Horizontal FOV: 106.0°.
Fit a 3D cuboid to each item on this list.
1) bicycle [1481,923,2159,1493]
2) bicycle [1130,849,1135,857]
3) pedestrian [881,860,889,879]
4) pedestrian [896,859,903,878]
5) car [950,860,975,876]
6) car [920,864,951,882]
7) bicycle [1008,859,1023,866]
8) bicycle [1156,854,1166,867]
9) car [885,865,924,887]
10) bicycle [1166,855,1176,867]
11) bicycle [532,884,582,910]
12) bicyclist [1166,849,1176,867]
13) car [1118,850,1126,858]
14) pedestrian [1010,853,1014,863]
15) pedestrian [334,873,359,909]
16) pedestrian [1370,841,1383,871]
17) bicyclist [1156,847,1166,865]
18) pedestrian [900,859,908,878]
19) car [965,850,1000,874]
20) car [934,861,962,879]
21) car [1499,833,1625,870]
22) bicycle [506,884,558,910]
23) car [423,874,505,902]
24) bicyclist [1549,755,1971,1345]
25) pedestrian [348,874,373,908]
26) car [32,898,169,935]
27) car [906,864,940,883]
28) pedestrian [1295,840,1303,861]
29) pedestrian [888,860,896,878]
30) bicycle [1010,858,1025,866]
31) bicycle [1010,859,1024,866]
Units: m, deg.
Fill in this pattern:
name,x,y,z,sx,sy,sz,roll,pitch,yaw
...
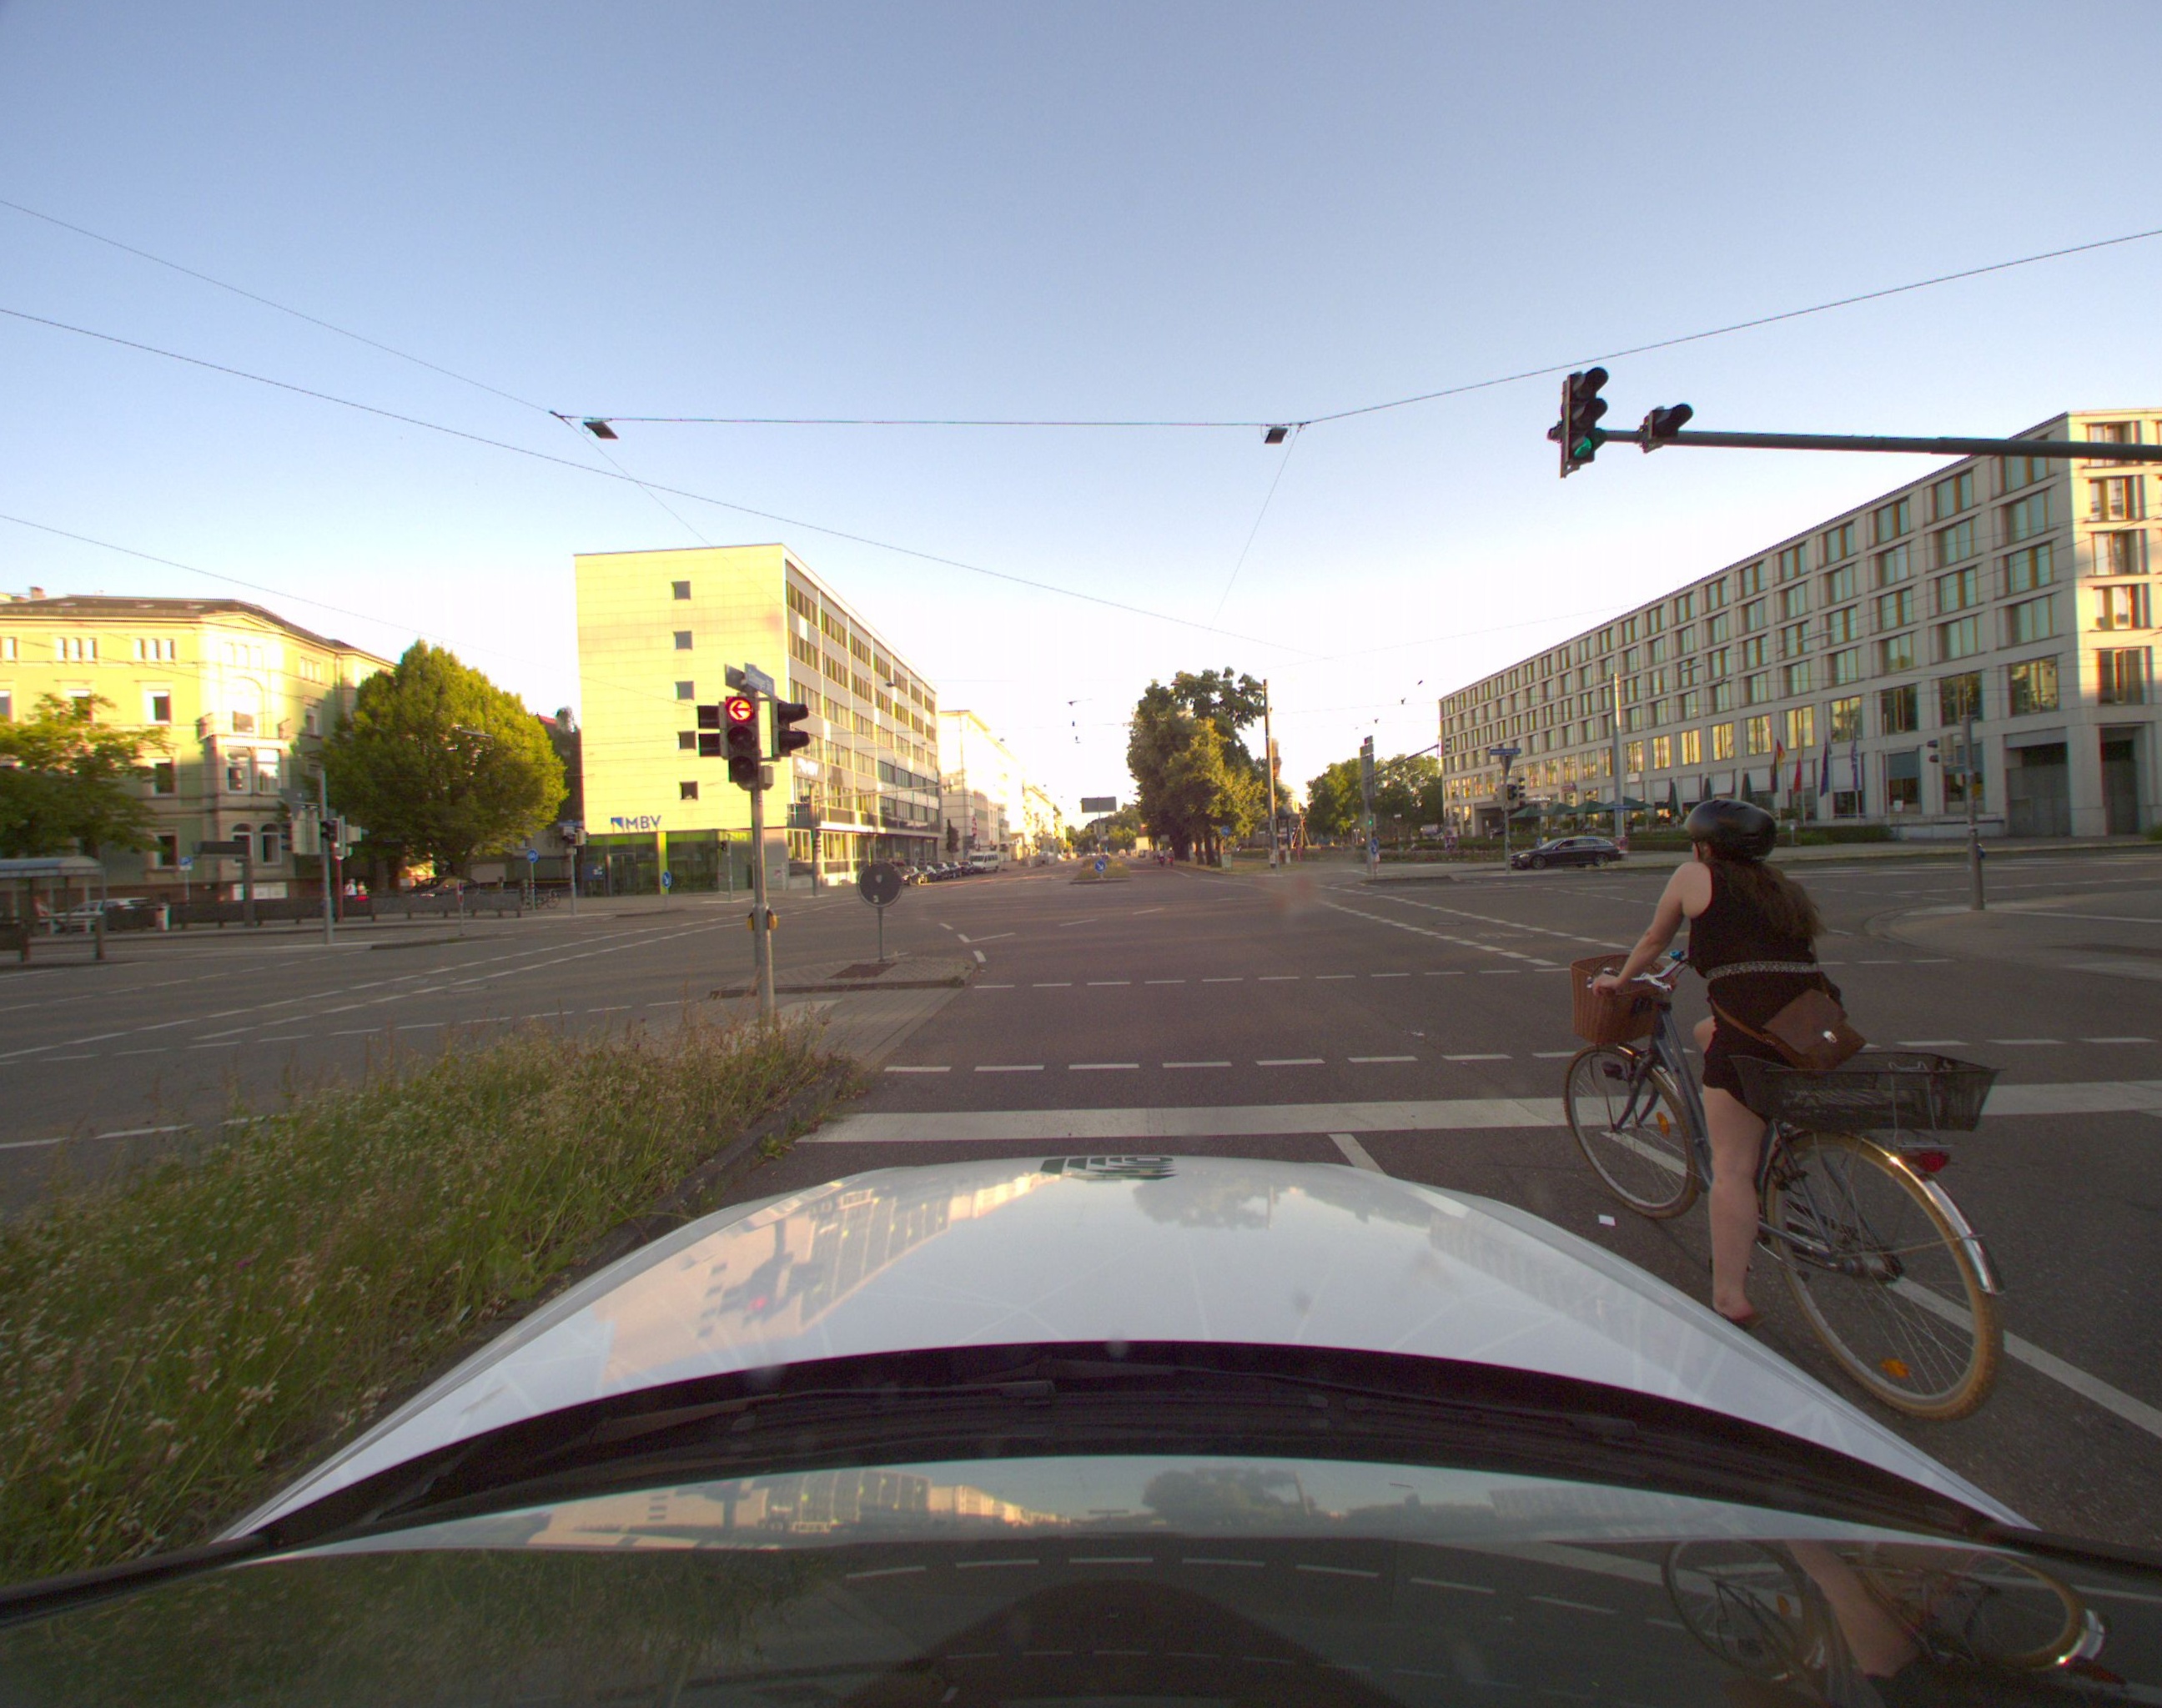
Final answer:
name,x,y,z,sx,sy,sz,roll,pitch,yaw
bicycle,2.183,0.897,2.870,0.609,1.132,2.005,-1,0,2
bicycle,13.157,-0.266,208.378,0.997,2.013,4.007,-3,0,6
pedestrian,-18.269,1.429,75.825,0.549,1.679,0.500,-3,0,1
pedestrian,-17.061,1.368,76.448,0.498,1.679,0.500,-3,0,1
car,-12.379,1.443,85.254,1.913,1.568,4.002,-3,0,2
car,-13.099,1.681,73.729,1.913,1.464,4.002,-3,0,2
bicycle,-10.080,1.317,125.939,2.198,1.112,0.619,-3,0,0
bicycle,7.650,0.625,77.606,0.744,1.144,2.506,-3,0,2
car,-13.503,1.657,62.420,1.913,1.464,4.105,-3,0,2
bicycle,8.594,0.645,77.609,0.744,1.144,2.506,-3,0,2
bicycle,-25.604,2.105,39.842,0.832,1.112,2.216,-3,0,6
bicyclist,8.577,0.373,77.530,0.744,1.691,0.799,-3,0,1
car,8.422,-0.029,166.844,1.403,1.641,4.000,-3,0,1
pedestrian,-14.014,0.855,165.218,0.677,2.013,0.545,-3,0,1
pedestrian,-38.196,1.911,42.353,0.641,1.790,0.720,-3,0,-12
pedestrian,15.735,0.096,43.387,0.489,1.540,0.408,-3,0,1
bicyclist,7.592,0.214,77.396,0.744,1.663,0.873,-3,0,1
pedestrian,-16.464,1.362,75.962,0.549,1.679,0.500,-3,0,1
car,-11.052,0.863,91.688,1.988,2.478,5.888,-3,0,12
car,-12.847,1.571,79.031,1.913,1.568,4.002,-3,0,2
car,23.087,-0.109,39.223,4.803,1.515,2.002,-3,0,4
bicycle,-26.887,2.108,39.923,0.832,1.112,2.216,-3,0,6
car,-34.961,1.908,46.265,1.830,1.372,3.594,-3,0,0
bicyclist,2.177,0.546,2.770,0.597,1.636,0.999,-1,0,2
pedestrian,-38.136,1.950,43.113,0.641,1.790,0.720,-3,0,-12
car,-45.261,2.844,37.671,3.588,1.372,1.833,-3,0,-15
car,-13.307,1.643,68.916,1.913,1.464,4.002,-3,0,2
pedestrian,17.777,-0.298,66.303,0.458,1.656,0.567,-3,0,1
pedestrian,-17.662,1.407,76.271,0.549,1.679,0.500,-3,0,1
bicycle,-10.132,1.305,129.338,2.198,1.236,0.839,-3,0,0
bicycle,-9.997,1.333,127.451,2.198,1.112,0.689,-3,0,0
